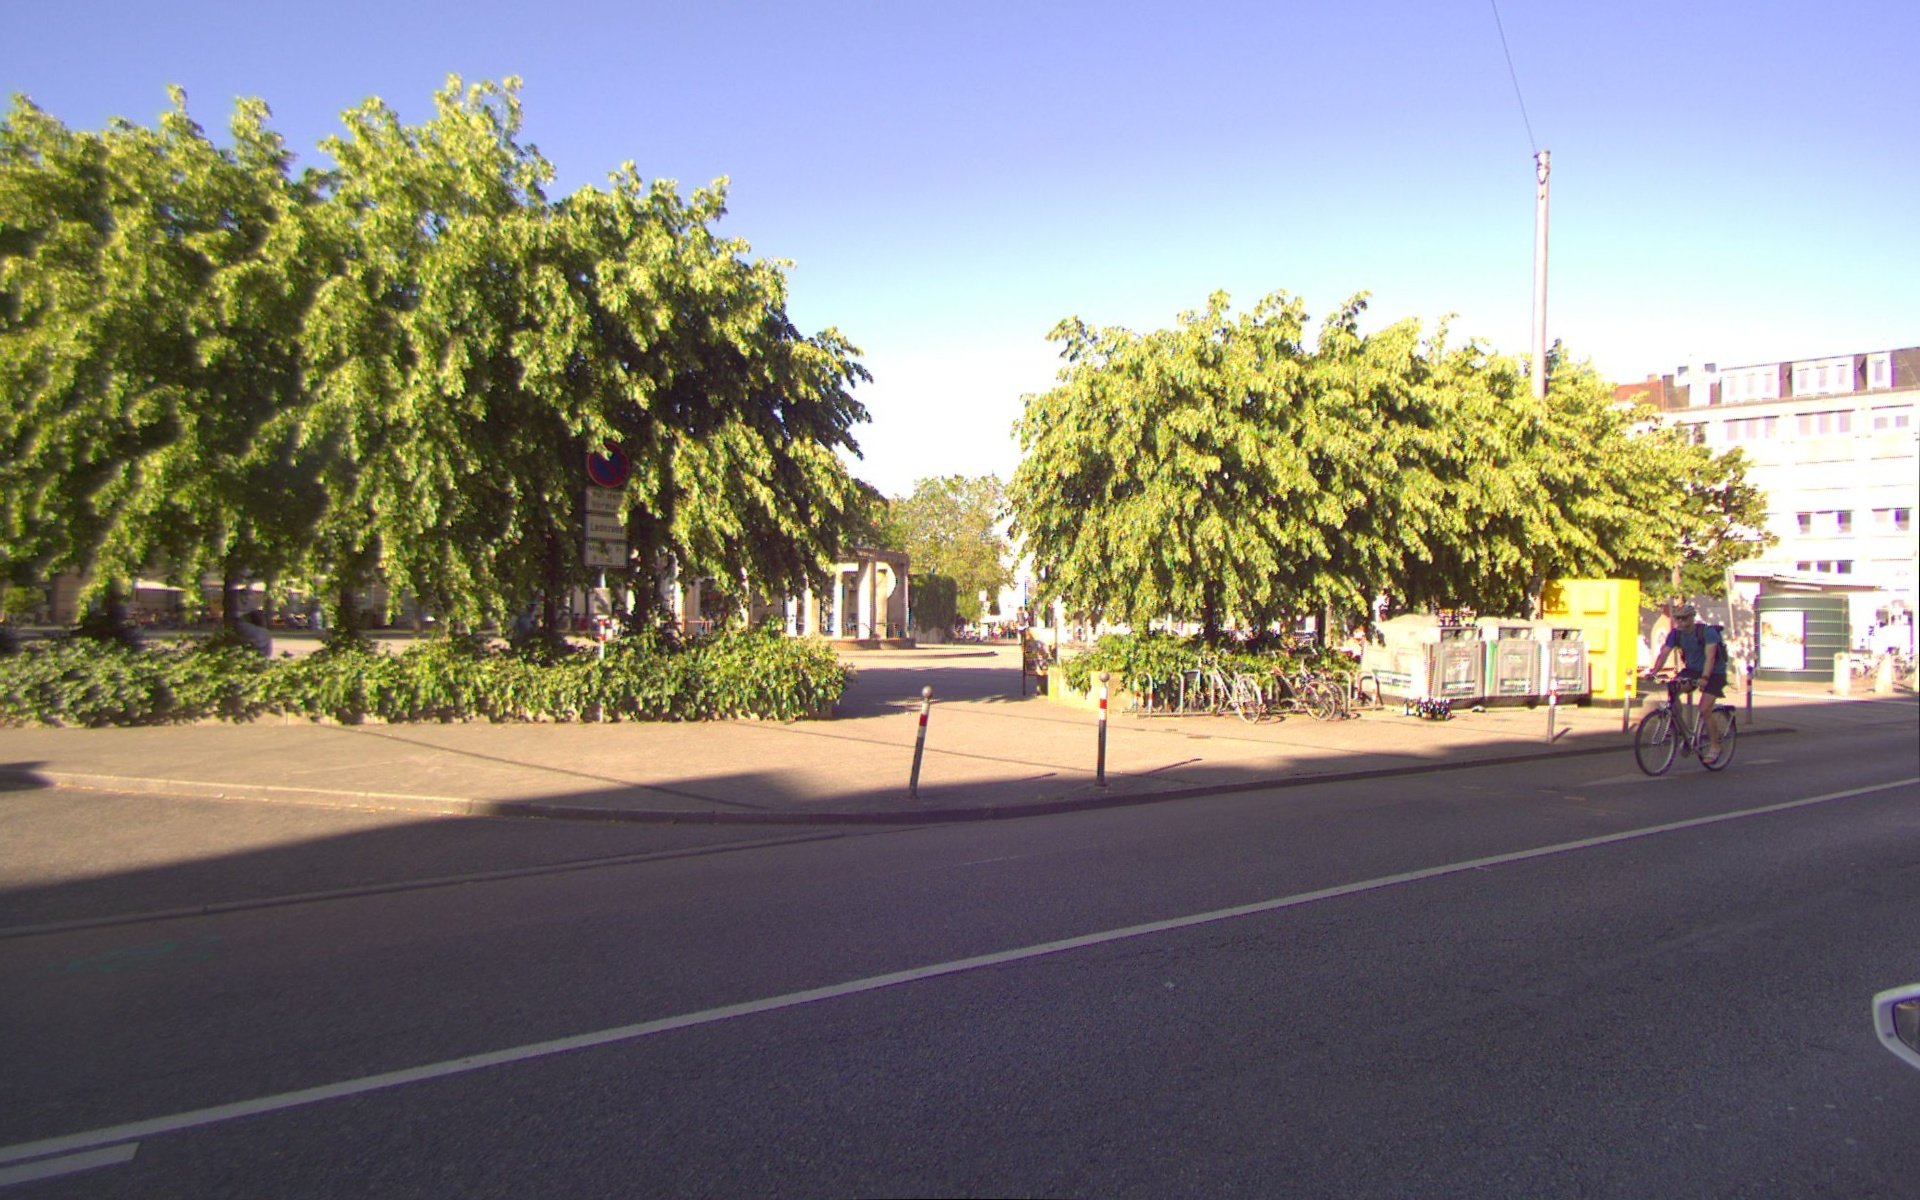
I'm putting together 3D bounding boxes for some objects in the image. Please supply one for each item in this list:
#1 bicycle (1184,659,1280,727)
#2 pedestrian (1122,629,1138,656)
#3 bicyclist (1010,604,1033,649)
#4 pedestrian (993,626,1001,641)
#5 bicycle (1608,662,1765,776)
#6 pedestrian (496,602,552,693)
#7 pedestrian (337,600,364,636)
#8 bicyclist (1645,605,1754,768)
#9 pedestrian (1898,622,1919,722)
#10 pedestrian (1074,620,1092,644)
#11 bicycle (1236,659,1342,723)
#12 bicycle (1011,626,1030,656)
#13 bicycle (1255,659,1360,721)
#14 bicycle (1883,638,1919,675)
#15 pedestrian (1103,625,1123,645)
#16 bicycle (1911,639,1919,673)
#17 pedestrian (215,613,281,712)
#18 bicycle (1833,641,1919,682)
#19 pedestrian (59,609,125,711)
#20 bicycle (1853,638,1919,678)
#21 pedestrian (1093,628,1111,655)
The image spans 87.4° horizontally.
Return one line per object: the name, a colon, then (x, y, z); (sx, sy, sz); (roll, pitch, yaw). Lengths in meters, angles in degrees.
bicycle: (4.178, 1.409, 15.533); (0.464, 0.897, 1.558); (2, 0, -29)
pedestrian: (10.106, 2.511, 59.773); (0.762, 1.541, 0.838); (2, 0, 0)
bicyclist: (2.416, 1.032, 39.520); (0.773, 1.722, 0.896); (2, 0, 0)
pedestrian: (3.846, 3.453, 104.609); (0.744, 1.557, 0.673); (2, 0, -12)
bicycle: (8.123, 1.291, 11.213); (1.933, 1.177, 0.614); (2, -3, -28)
pedestrian: (-7.618, 0.818, 17.556); (0.688, 1.541, 0.676); (2, 0, -41)
pedestrian: (-26.979, 0.783, 44.468); (0.680, 1.550, 0.740); (2, 0, 1)
bicyclist: (8.264, 0.945, 11.237); (0.799, 1.732, 0.698); (2, -2, -27)
pedestrian: (17.439, 1.286, 17.543); (1.042, 1.742, 1.111); (2, 0, -9)
pedestrian: (9.665, 2.519, 79.093); (1.275, 1.867, 1.102); (2, 0, 1)
bicycle: (5.278, 1.441, 16.192); (0.465, 0.870, 1.659); (2, 0, -35)
bicycle: (2.379, 1.608, 39.588); (0.593, 1.116, 1.989); (2, 0, 0)
bicycle: (5.677, 1.452, 16.487); (0.465, 0.870, 1.654); (2, 0, -35)
bicycle: (35.265, 2.081, 36.139); (0.932, 1.287, 2.859); (2, 0, -32)
pedestrian: (9.669, 2.187, 63.405); (0.887, 1.230, 0.863); (2, 0, -21)
bicycle: (37.249, 2.153, 37.283); (0.932, 1.276, 2.648); (2, 0, -32)
pedestrian: (-10.848, 0.932, 15.308); (0.581, 1.456, 0.615); (2, 0, 33)
bicycle: (31.224, 2.061, 33.770); (0.932, 1.211, 2.645); (2, 0, -32)
pedestrian: (-12.855, 0.870, 14.891); (0.615, 1.456, 0.647); (2, 0, -32)
bicycle: (33.146, 2.037, 35.073); (0.923, 1.291, 2.764); (2, 0, -32)
pedestrian: (8.547, 2.499, 60.452); (0.904, 1.541, 0.936); (2, 0, 15)
